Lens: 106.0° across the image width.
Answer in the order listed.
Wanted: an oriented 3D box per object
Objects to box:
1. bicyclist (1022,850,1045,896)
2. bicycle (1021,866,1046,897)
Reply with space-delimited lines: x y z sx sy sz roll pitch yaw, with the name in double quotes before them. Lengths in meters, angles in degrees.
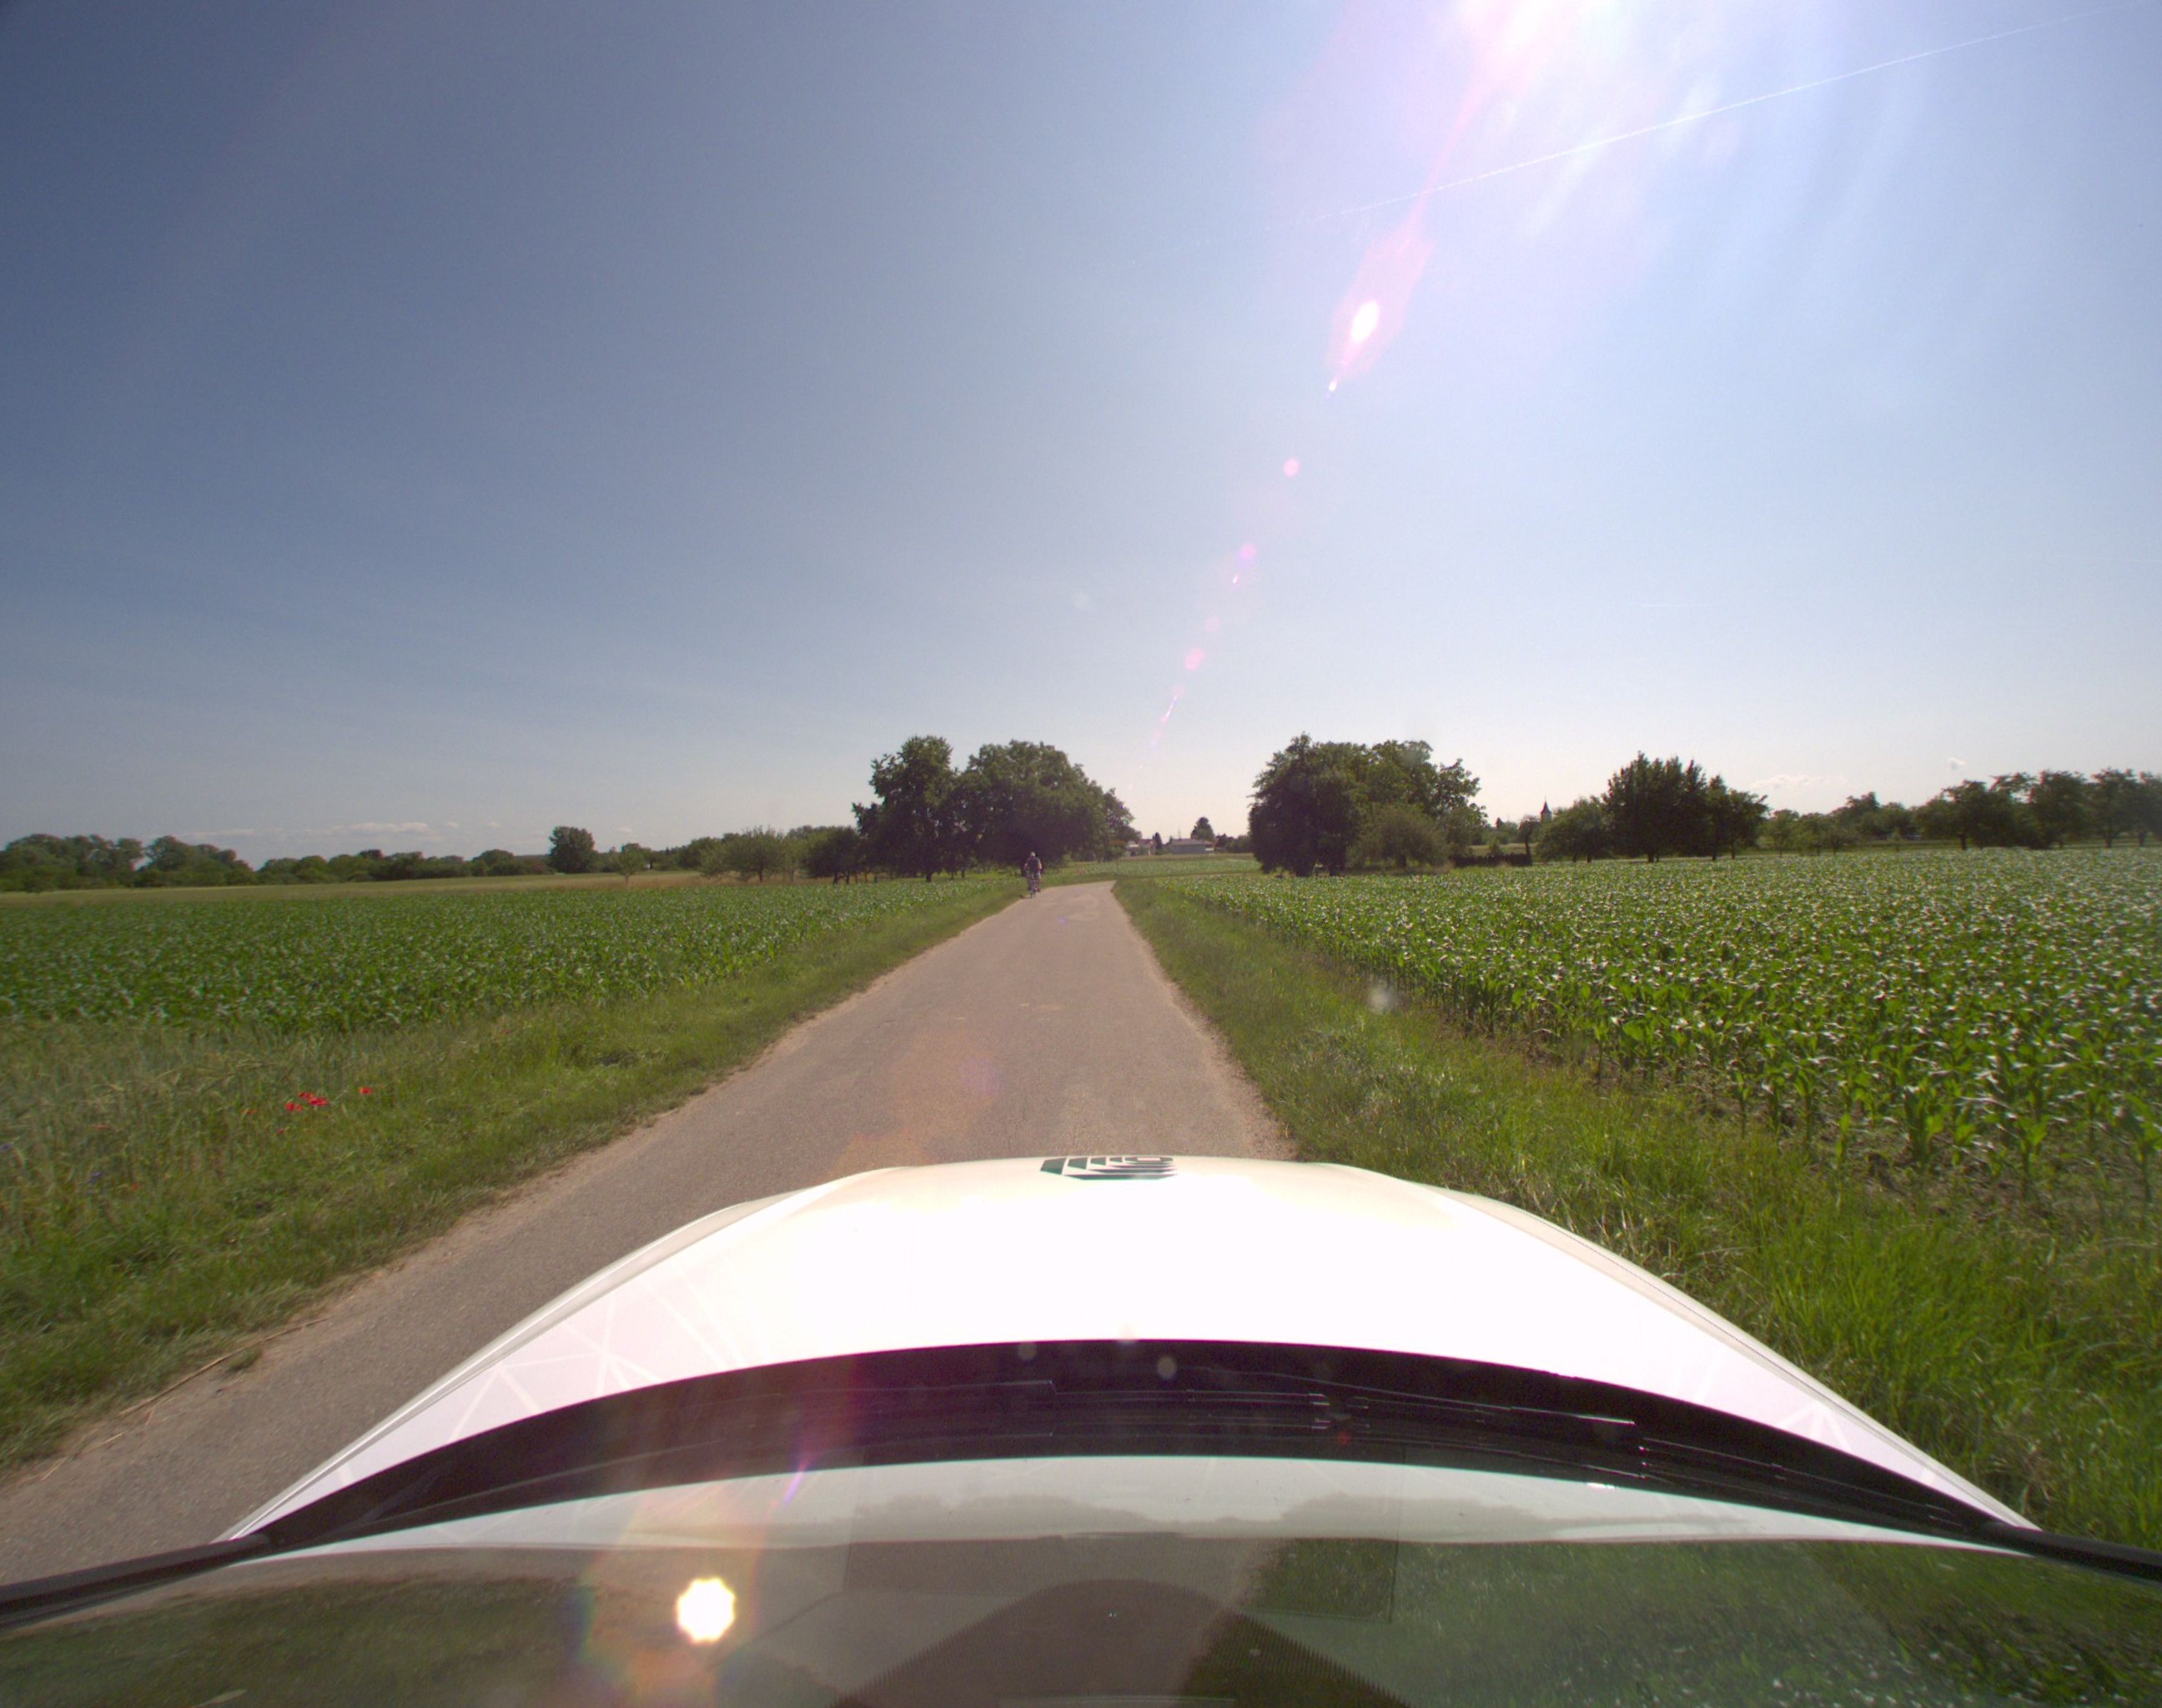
"bicyclist" -1.923 0.768 32.923 0.747 1.791 0.717 -4 -1 3
"bicycle" -1.909 1.092 32.911 0.747 1.127 1.910 -4 0 3
